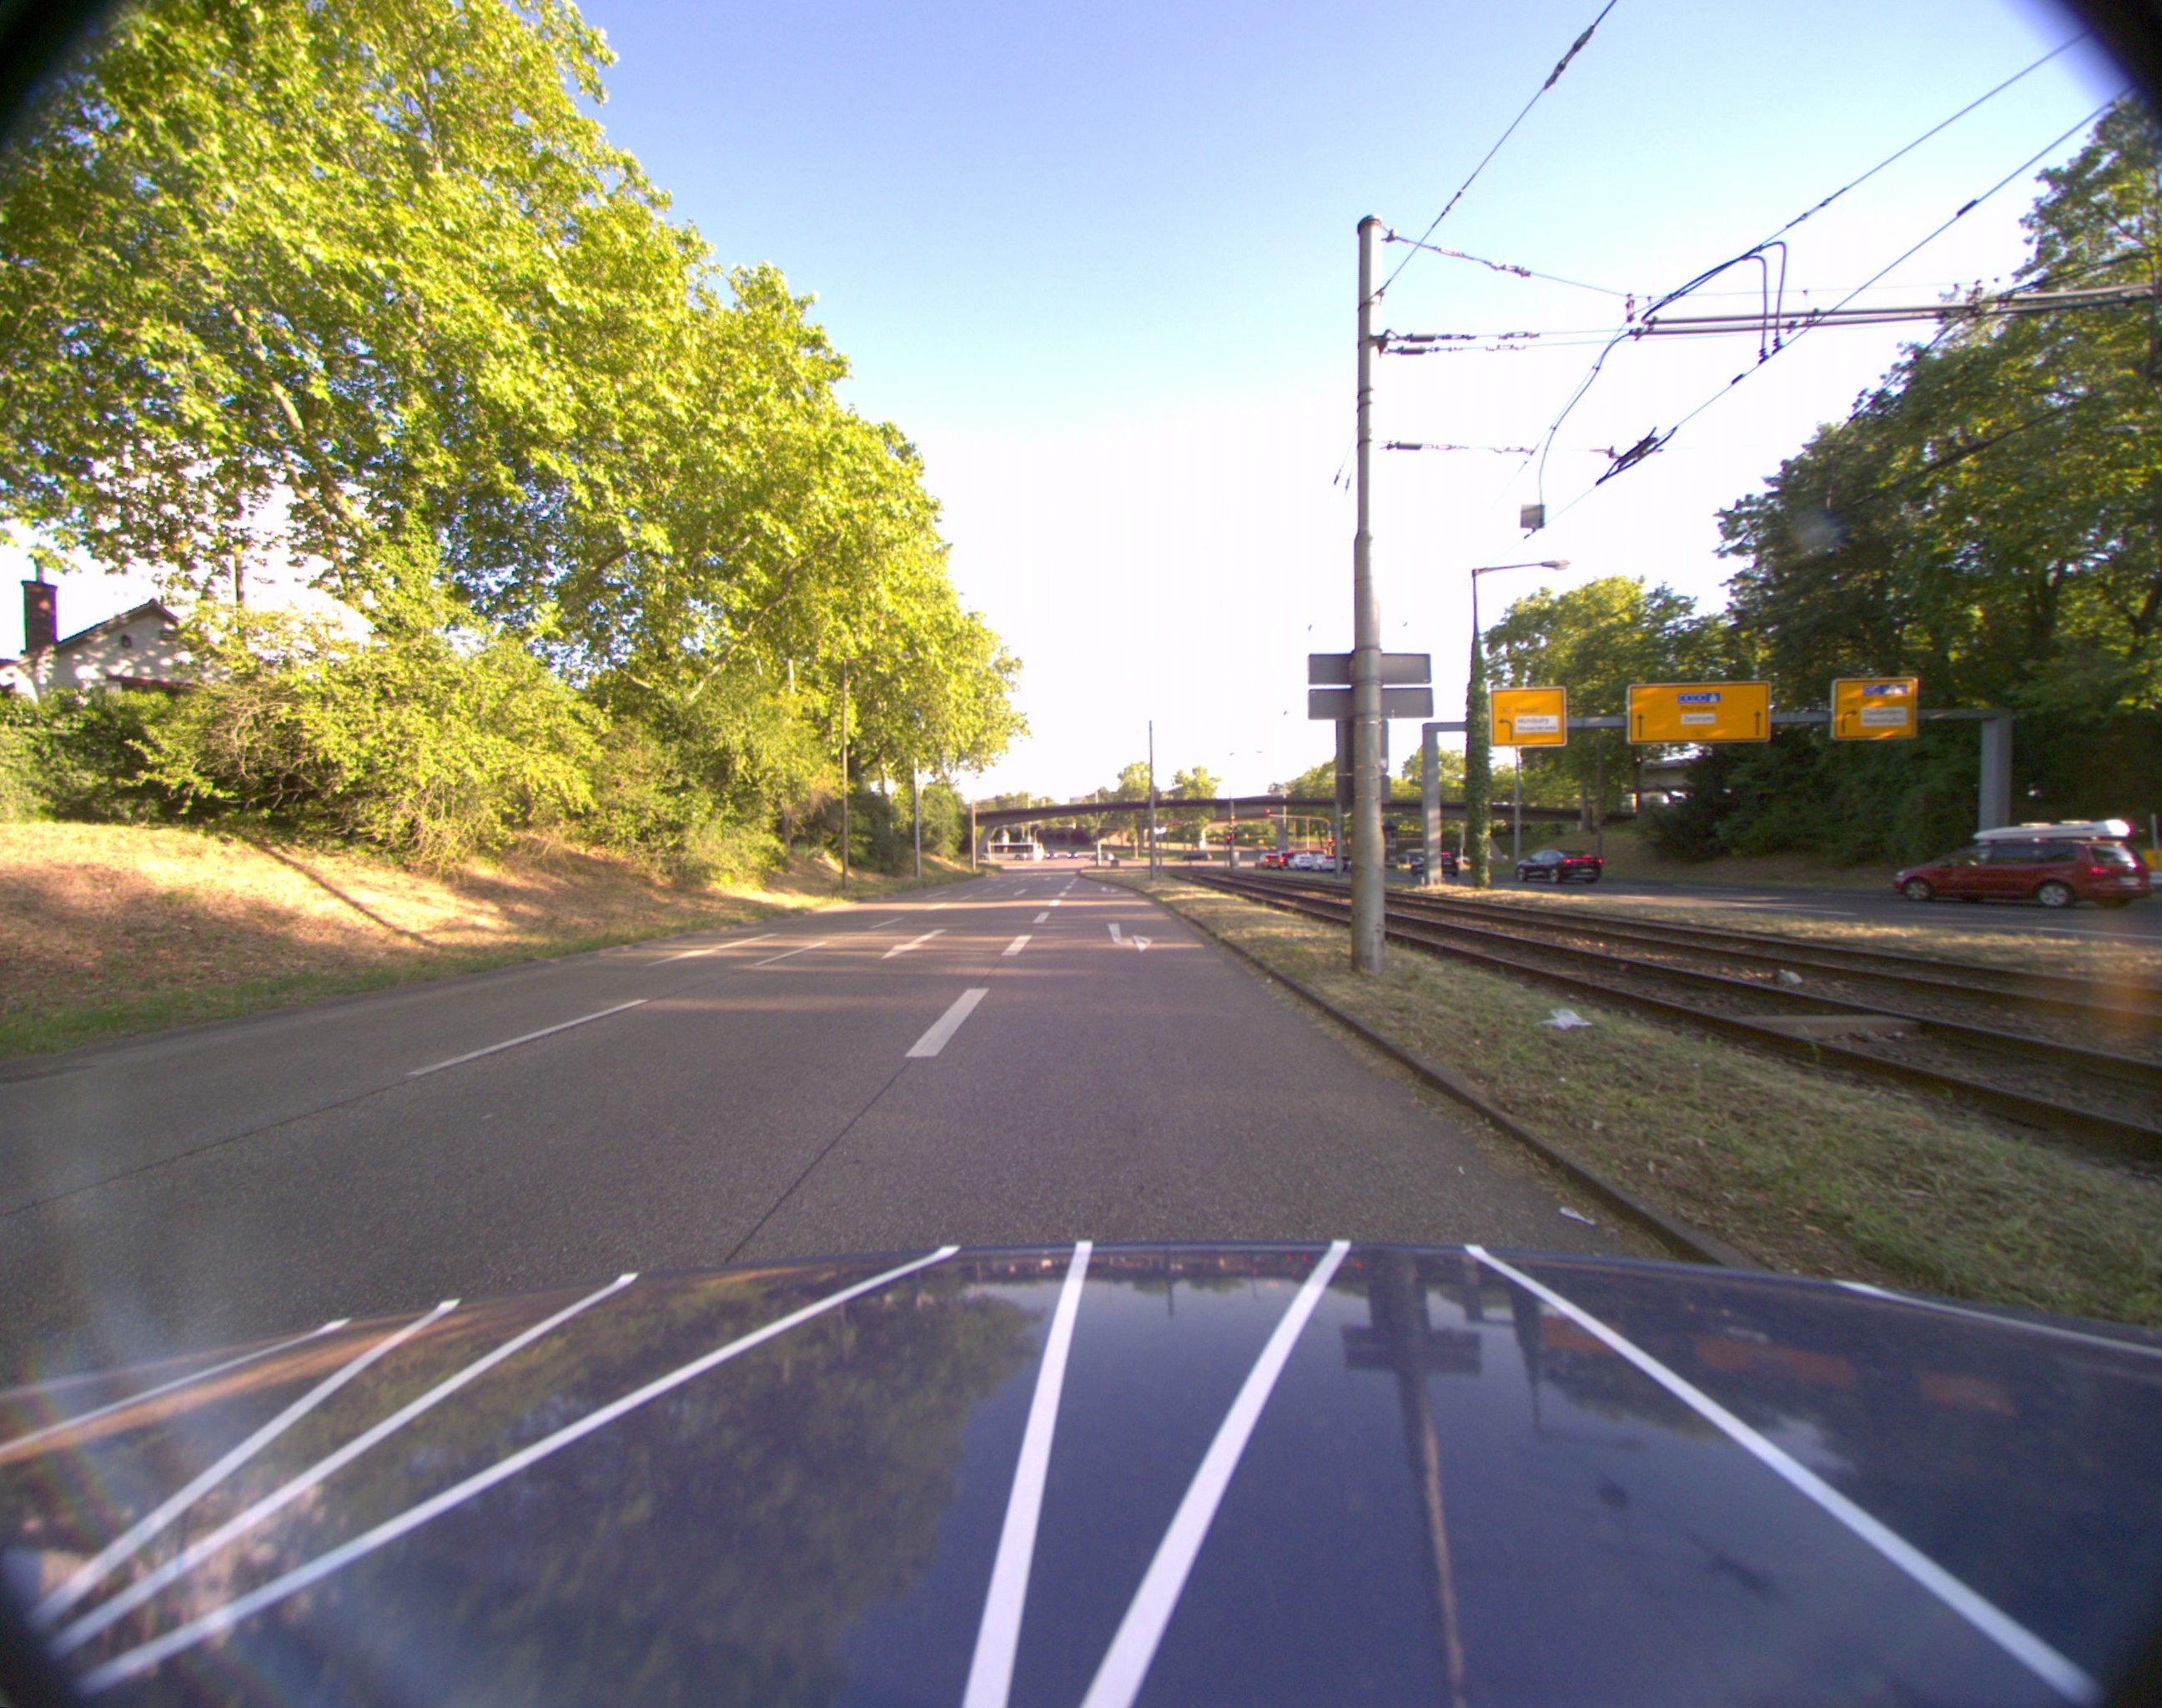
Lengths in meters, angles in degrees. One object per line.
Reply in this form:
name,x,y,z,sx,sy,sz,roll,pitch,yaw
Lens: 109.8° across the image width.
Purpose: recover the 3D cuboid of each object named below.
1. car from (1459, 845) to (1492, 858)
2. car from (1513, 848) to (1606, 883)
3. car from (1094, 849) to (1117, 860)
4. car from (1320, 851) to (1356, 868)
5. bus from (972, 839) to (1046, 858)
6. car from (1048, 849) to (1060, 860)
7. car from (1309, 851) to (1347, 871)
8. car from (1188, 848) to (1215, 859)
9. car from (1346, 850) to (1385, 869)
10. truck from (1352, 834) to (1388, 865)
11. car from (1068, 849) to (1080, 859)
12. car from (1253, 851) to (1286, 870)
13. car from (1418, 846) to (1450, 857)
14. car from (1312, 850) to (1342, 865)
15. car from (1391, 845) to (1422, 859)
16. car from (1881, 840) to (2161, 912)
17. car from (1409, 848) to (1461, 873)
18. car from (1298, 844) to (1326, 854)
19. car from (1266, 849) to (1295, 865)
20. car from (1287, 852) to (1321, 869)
car,52.757,-0.309,101.614,3.804,1.570,1.679,-2,1,24
car,22.560,0.490,36.006,1.735,1.536,4.334,-1,0,1
car,4.023,0.088,125.189,3.364,1.560,1.613,-2,0,17
car,23.736,0.493,70.215,1.868,1.416,4.226,-1,0,0
bus,-12.568,-0.884,131.899,13.163,2.846,2.420,-2,1,22
car,-4.903,0.068,139.209,1.960,1.779,3.998,-2,0,-5
car,20.025,0.537,61.811,1.767,1.535,4.000,-1,0,0
car,18.941,-0.072,119.345,3.868,1.655,1.814,-2,1,21
car,23.965,0.422,64.078,1.813,1.535,4.000,-1,0,1
truck,28.380,-0.443,74.805,2.281,2.862,6.886,-1,0,13
car,-1.260,0.014,141.885,1.905,1.726,3.998,-2,0,-5
car,16.145,0.502,65.242,1.767,1.535,4.000,-1,0,0
car,49.978,-0.349,107.625,3.785,1.491,1.766,-2,1,18
car,24.947,0.367,77.174,1.917,1.416,4.228,-1,0,5
car,44.745,-0.257,104.418,3.805,1.848,1.679,-2,1,20
car,23.773,0.478,19.456,1.843,1.625,4.309,0,0,-5
car,22.813,0.417,49.088,1.755,1.548,3.974,0,0,5
car,34.577,-0.747,113.753,3.868,1.403,1.814,-2,1,20
car,19.579,0.259,74.747,1.917,1.540,4.227,-1,0,4
car,19.913,0.524,68.090,1.918,1.416,4.227,-1,0,2
